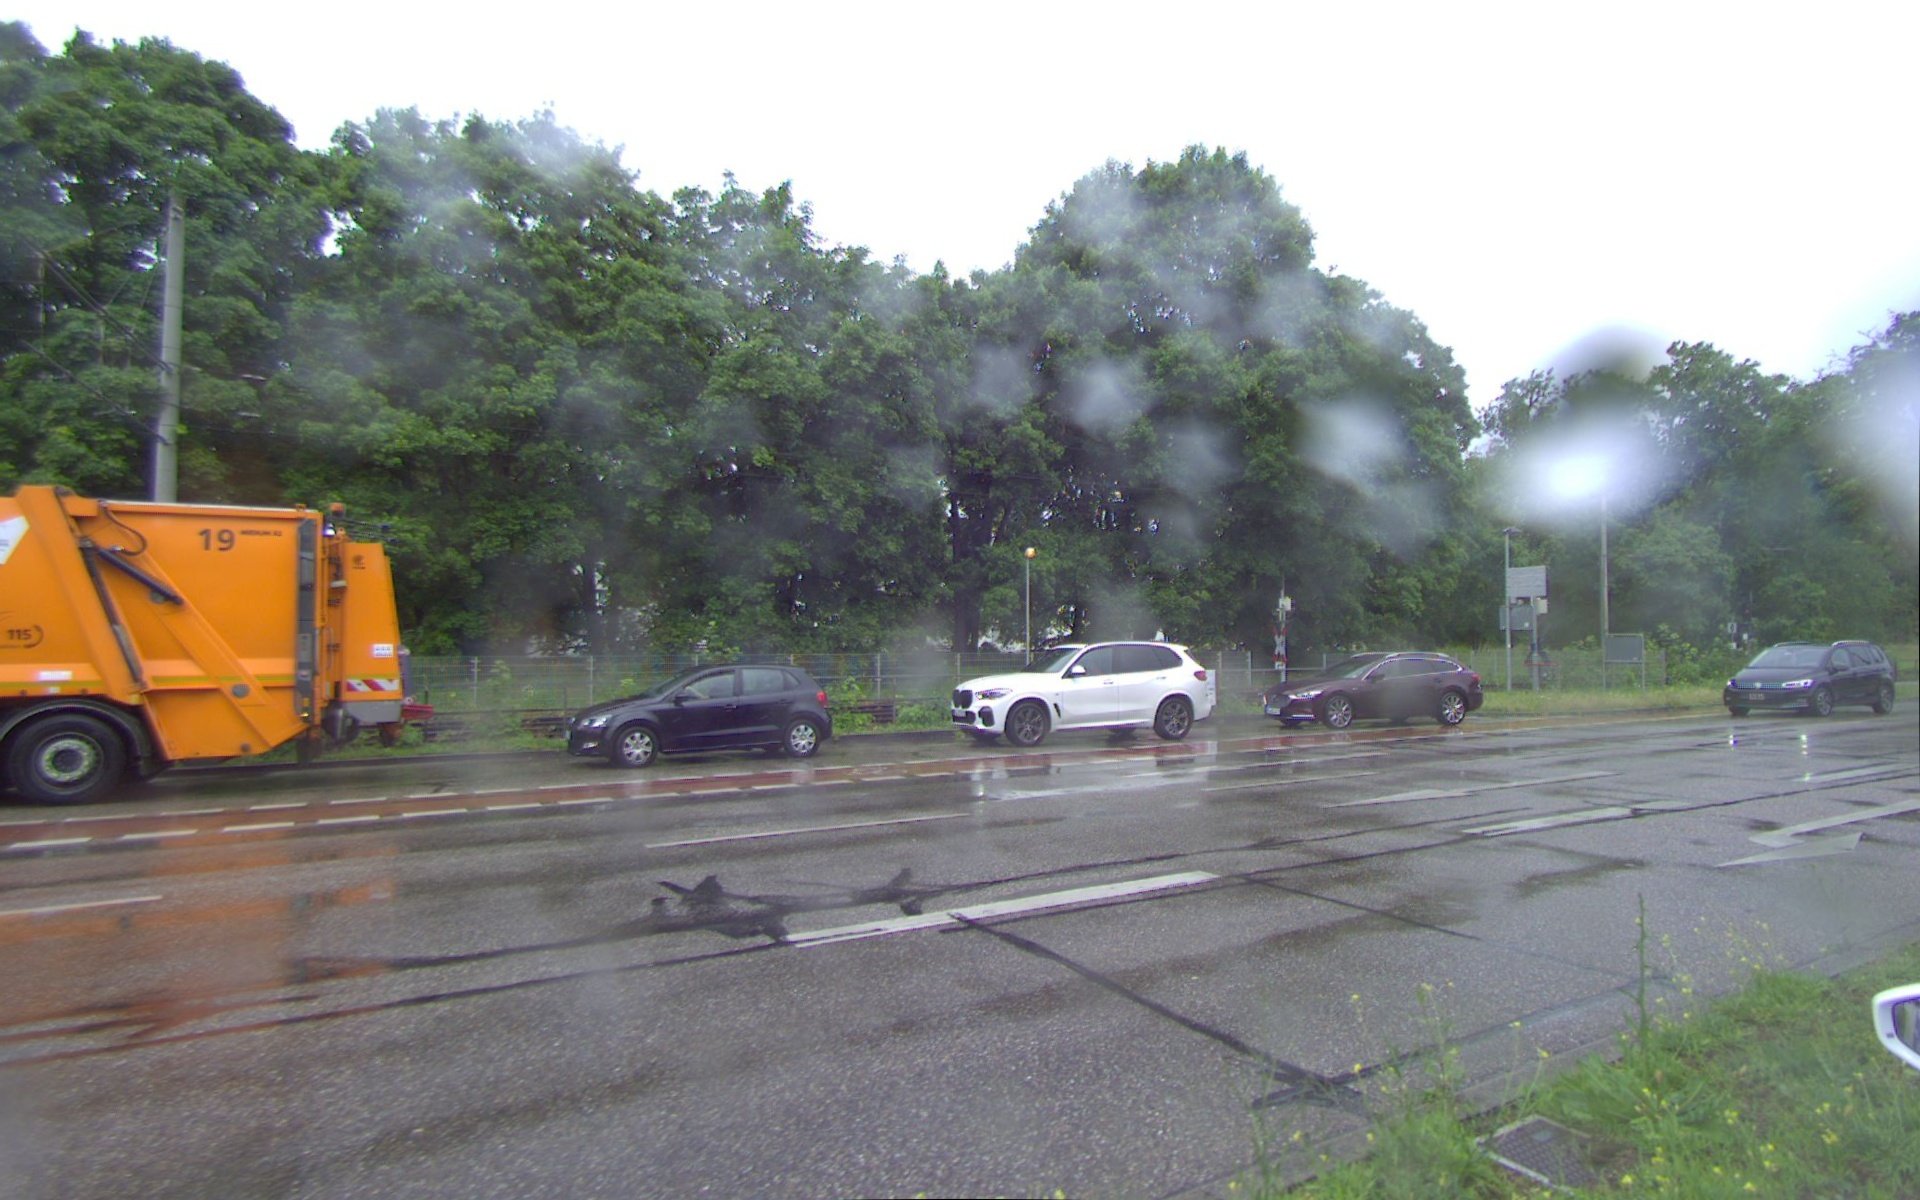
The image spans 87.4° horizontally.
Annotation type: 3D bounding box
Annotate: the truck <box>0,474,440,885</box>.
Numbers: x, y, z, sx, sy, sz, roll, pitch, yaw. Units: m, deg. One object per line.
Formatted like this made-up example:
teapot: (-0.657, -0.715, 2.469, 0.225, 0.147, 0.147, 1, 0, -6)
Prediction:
truck: (-11.686, 0.791, 11.250, 10.279, 4.222, 3.371, 2, -1, -29)

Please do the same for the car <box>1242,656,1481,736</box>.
car: (8.335, 1.942, 20.947, 4.434, 1.505, 1.872, 1, -3, -17)

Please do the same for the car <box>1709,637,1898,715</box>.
car: (19.386, 1.711, 23.074, 4.274, 1.663, 1.702, 1, -4, -26)

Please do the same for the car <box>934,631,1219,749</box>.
car: (2.091, 1.544, 17.971, 4.704, 1.852, 1.989, 2, -1, -23)

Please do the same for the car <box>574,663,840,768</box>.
car: (-3.800, 1.676, 15.213, 3.641, 1.396, 1.581, 1, -5, -29)
